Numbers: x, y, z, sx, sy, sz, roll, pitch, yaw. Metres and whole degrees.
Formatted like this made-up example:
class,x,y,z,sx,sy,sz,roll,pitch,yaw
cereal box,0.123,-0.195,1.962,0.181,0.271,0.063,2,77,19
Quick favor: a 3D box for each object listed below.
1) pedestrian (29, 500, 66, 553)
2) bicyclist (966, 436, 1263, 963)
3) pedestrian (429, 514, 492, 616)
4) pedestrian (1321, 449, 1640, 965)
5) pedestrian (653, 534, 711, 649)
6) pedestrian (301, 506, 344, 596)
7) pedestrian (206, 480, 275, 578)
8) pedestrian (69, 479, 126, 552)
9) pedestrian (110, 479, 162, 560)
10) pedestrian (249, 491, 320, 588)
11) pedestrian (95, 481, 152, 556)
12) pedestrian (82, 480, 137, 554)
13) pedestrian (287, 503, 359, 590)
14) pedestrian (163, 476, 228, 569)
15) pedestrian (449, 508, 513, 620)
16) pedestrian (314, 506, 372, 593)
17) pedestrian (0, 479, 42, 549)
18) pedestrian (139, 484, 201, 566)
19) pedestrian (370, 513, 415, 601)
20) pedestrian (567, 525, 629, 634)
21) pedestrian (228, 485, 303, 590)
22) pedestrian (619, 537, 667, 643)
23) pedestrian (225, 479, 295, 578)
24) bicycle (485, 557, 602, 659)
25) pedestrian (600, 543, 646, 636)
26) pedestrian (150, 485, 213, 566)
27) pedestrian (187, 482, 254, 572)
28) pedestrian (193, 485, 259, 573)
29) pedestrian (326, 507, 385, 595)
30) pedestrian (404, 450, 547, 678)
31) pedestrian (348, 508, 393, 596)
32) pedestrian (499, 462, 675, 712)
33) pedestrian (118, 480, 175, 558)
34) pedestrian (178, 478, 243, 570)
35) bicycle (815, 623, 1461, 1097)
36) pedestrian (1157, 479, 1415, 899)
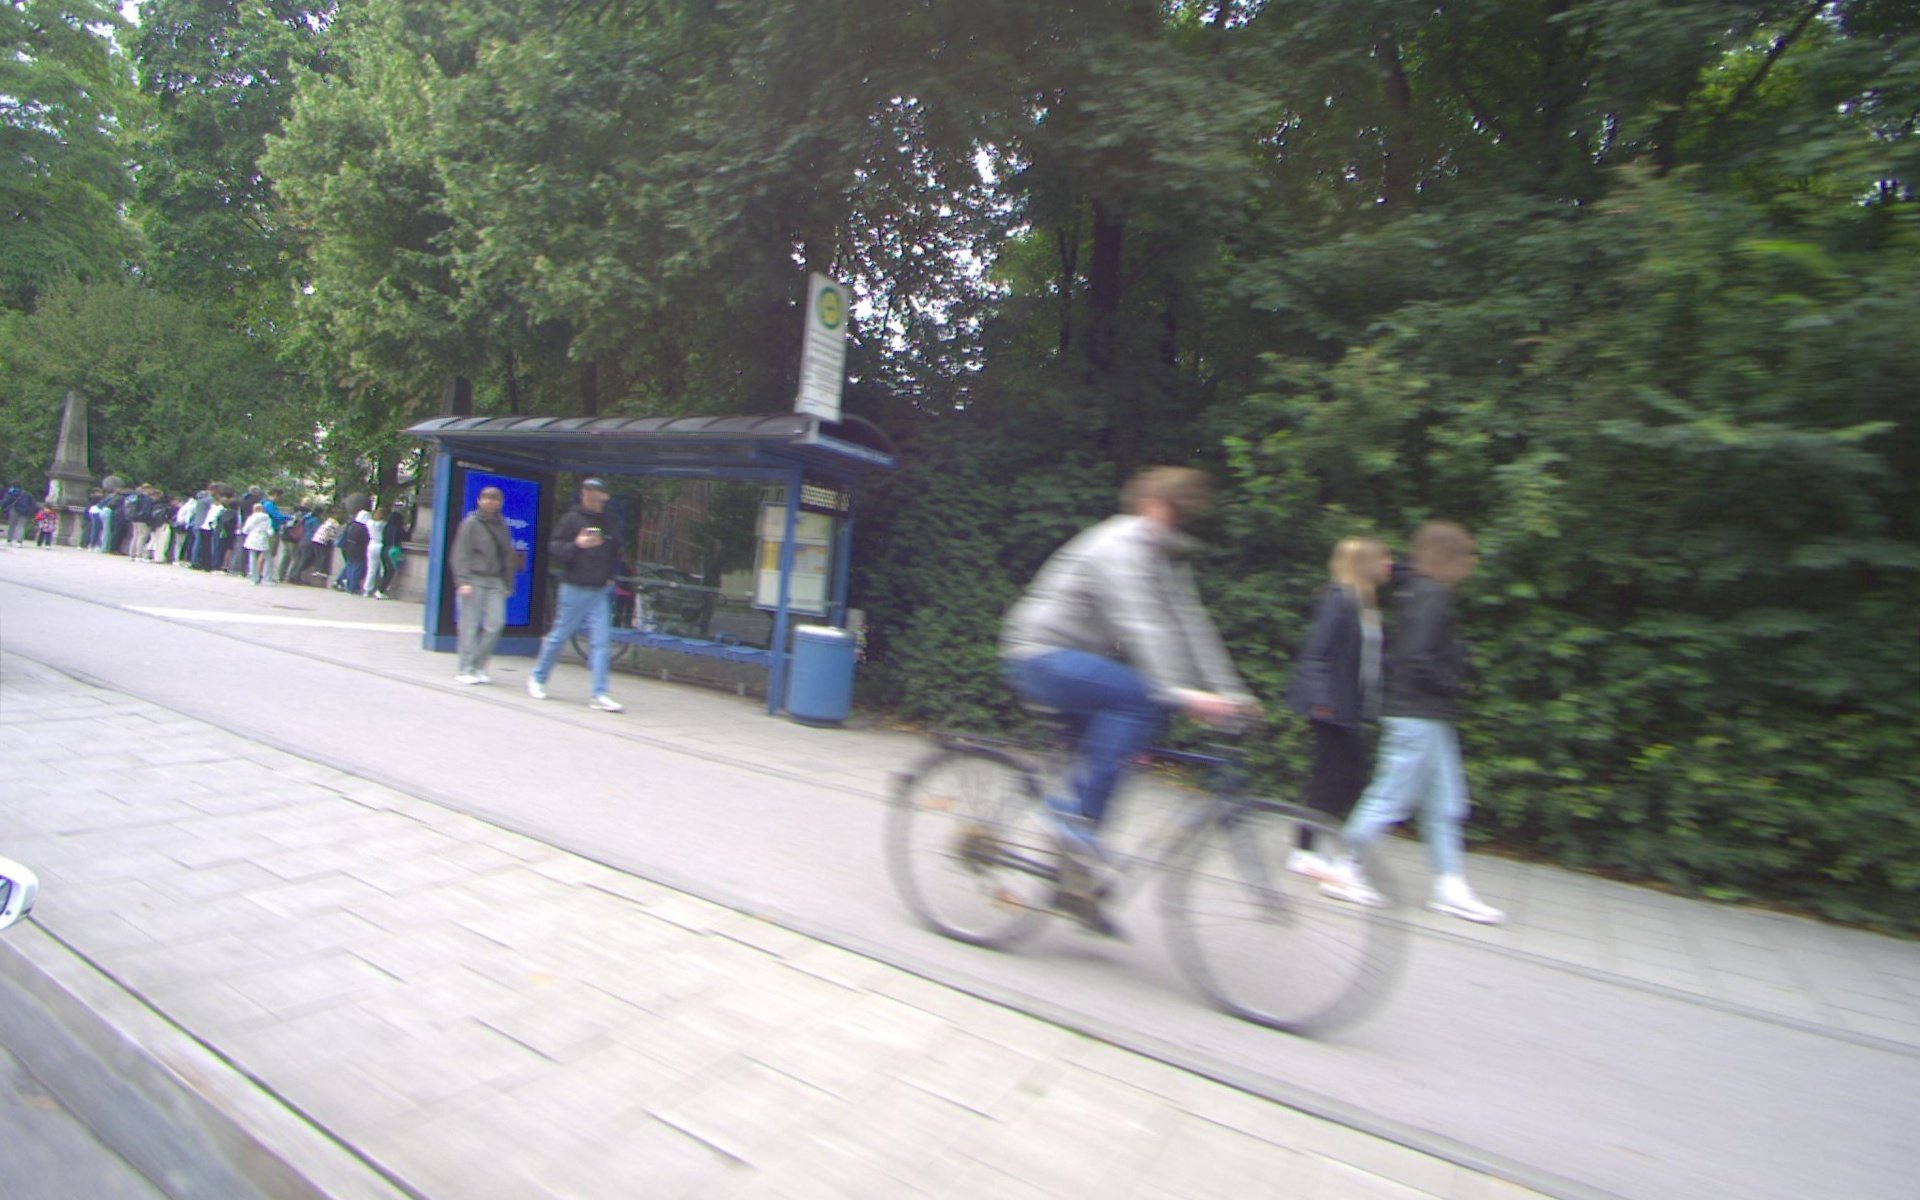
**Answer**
class,x,y,z,sx,sy,sz,roll,pitch,yaw
pedestrian,-21.721,-1.743,23.946,0.638,1.167,0.458,7,0,36
bicyclist,0.555,0.299,3.478,0.628,1.581,0.709,7,0,31
pedestrian,-8.559,-0.592,17.241,0.524,1.647,0.636,7,0,34
pedestrian,2.224,0.395,4.333,0.940,1.939,0.709,7,0,31
pedestrian,-4.534,-0.141,16.410,0.630,1.789,0.529,6,0,-27
pedestrian,-12.688,-0.981,20.018,0.435,1.725,0.421,7,0,33
pedestrian,-14.825,-1.461,20.724,0.717,1.874,0.812,7,0,34
pedestrian,-21.936,-2.138,25.600,0.717,1.711,0.812,7,0,34
pedestrian,-18.470,-1.801,22.554,0.717,1.711,0.592,7,0,34
pedestrian,-13.442,-1.194,20.026,0.717,1.789,0.812,7,0,34
pedestrian,-20.483,-1.992,24.639,0.717,1.712,0.812,7,1,34
pedestrian,-21.155,-2.064,25.026,0.717,1.713,0.812,7,3,34
pedestrian,-12.106,-1.010,19.123,0.717,1.526,0.812,7,0,34
pedestrian,-17.122,-1.735,22.534,0.717,1.940,0.812,7,0,34
pedestrian,-8.061,-0.594,16.929,0.524,1.789,0.636,7,0,34
pedestrian,-11.552,-0.935,18.841,0.524,1.526,0.636,7,0,34
pedestrian,-22.086,-2.025,23.616,0.638,1.546,0.549,7,0,36
pedestrian,-18.337,-1.725,23.353,0.717,1.760,0.812,7,0,34
pedestrian,-10.249,-0.776,18.171,0.435,1.526,0.420,7,0,34
pedestrian,-6.249,-0.347,17.378,0.524,1.789,0.636,7,0,34
pedestrian,-13.083,-1.168,18.953,0.717,1.851,0.812,7,0,34
pedestrian,-5.369,-0.169,17.026,0.435,1.725,0.420,7,0,34
pedestrian,-14.148,-1.436,20.336,0.717,1.874,0.812,7,0,34
bicycle,-5.127,0.083,12.346,1.550,1.073,0.393,7,0,31
pedestrian,-5.773,-0.183,17.226,0.435,1.526,0.420,7,0,34
pedestrian,-17.750,-1.689,22.942,0.717,1.711,0.812,7,0,34
pedestrian,-15.925,-1.566,21.668,0.717,1.812,0.812,7,0,34
pedestrian,-15.415,-1.487,21.126,0.663,1.711,0.812,7,0,34
pedestrian,-11.122,-0.901,18.512,0.524,1.526,0.636,7,0,34
pedestrian,-4.128,-0.290,8.591,0.628,1.831,0.709,7,0,31
pedestrian,-10.696,-0.862,18.265,0.435,1.526,0.420,7,0,34
pedestrian,-2.948,-0.102,7.964,0.934,1.831,0.709,7,0,31
pedestrian,-19.089,-1.896,23.608,0.717,1.713,0.812,7,3,34
pedestrian,-16.487,-1.669,22.130,0.717,1.897,0.812,7,0,34
bicycle,0.536,0.722,3.450,1.979,1.043,0.676,6,0,31
pedestrian,1.701,0.412,5.226,0.940,1.939,0.709,7,0,31
